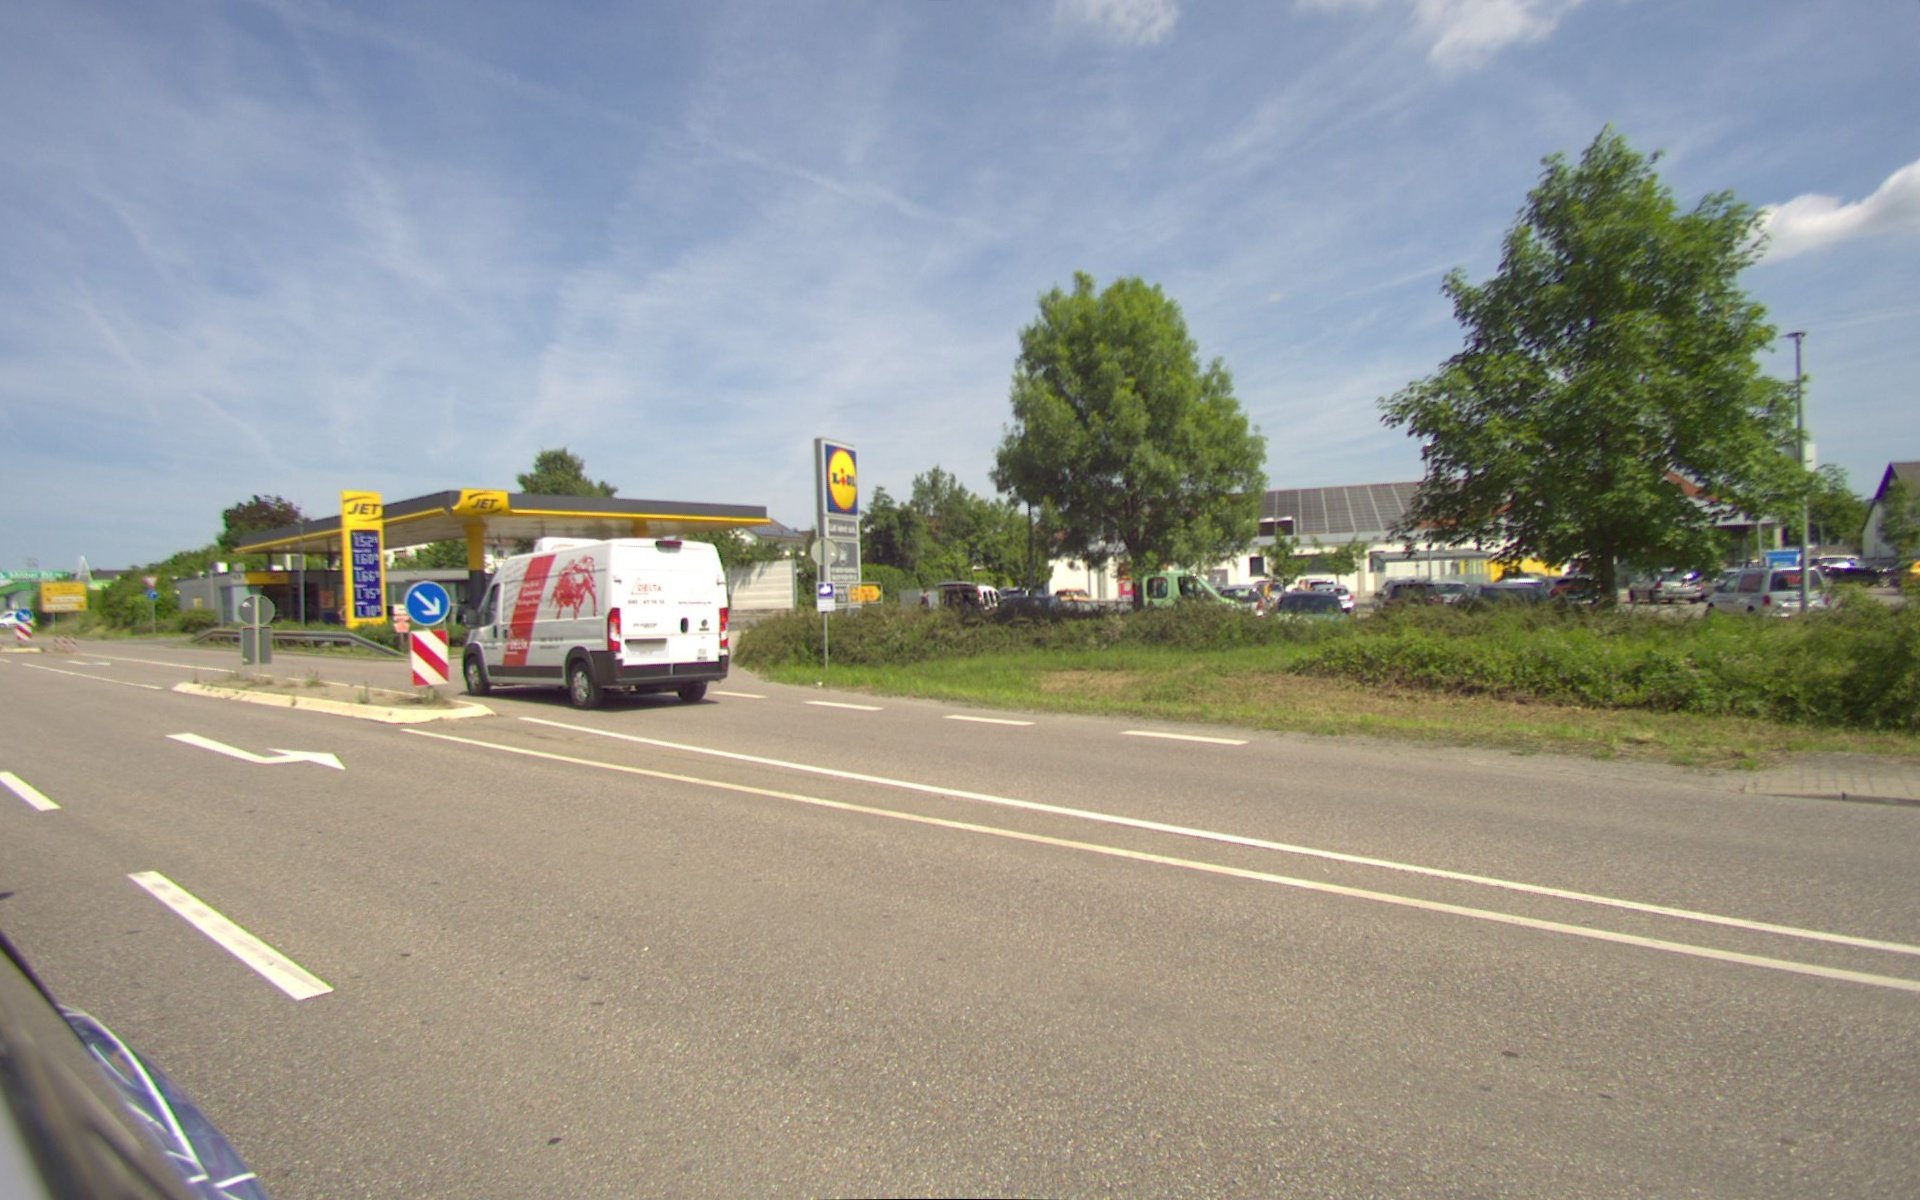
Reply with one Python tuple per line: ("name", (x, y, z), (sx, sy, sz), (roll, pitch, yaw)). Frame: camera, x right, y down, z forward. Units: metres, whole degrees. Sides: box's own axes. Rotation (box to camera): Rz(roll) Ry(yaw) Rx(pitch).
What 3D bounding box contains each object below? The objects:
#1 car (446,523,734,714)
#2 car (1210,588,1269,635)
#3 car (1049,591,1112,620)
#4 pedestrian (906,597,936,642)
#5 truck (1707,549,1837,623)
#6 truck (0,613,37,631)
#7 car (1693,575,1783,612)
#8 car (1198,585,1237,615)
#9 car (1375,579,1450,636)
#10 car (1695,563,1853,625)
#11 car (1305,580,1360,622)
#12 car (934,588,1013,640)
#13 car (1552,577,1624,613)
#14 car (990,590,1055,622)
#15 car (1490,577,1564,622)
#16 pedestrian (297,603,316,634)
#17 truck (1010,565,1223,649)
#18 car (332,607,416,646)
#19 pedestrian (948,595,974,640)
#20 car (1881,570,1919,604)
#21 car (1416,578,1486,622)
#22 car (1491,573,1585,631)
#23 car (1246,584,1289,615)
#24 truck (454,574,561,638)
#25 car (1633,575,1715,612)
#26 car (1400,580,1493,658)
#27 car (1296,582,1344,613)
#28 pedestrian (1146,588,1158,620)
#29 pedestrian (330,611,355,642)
("car", (-6.380, 0.273, 16.949), (5.987, 2.674, 2.094), (-1, 0, 44))
("car", (9.873, 0.366, 35.597), (1.769, 1.513, 4.122), (-1, 1, 18))
("car", (6.503, 0.284, 54.312), (1.879, 1.453, 3.958), (-1, 1, 31))
("pedestrian", (-1.397, 0.689, 36.312), (0.806, 1.587, 0.697), (-1, -1, 32))
("truck", (27.863, -0.459, 34.888), (1.981, 2.383, 3.982), (-1, 0, 14))
("truck", (-113.057, 2.656, 120.368), (1.999, 2.024, 4.709), (-1, 1, 42))
("car", (33.905, -0.279, 44.217), (1.865, 1.553, 4.231), (0, 0, 20))
("car", (13.302, -0.024, 52.230), (1.868, 1.453, 3.981), (-1, 1, 15))
("car", (14.656, 0.209, 32.937), (1.898, 1.687, 3.974), (-1, 1, 20))
("car", (24.209, -0.159, 30.327), (1.981, 1.708, 4.408), (-1, 0, 14))
("car", (14.263, 0.026, 38.936), (1.764, 1.540, 3.977), (0, 0, 17))
("car", (0.582, 0.486, 38.721), (1.865, 1.825, 4.145), (-1, 0, 17))
("car", (28.456, -0.234, 45.993), (1.865, 1.553, 4.231), (0, 0, 20))
("car", (3.412, 0.308, 54.503), (1.765, 1.551, 3.956), (-2, 0, 33))
("car", (20.576, -0.026, 36.857), (1.767, 1.540, 3.972), (0, 0, 21))
("pedestrian", (-39.151, 1.116, 60.624), (0.639, 1.852, 0.788), (-2, 0, 41))
("truck", (4.881, 0.260, 31.386), (6.290, 2.393, 2.238), (-1, -1, 15))
("car", (-27.734, 1.254, 47.826), (4.258, 1.719, 1.975), (-2, -1, 38))
("pedestrian", (0.050, 0.619, 36.325), (0.801, 1.587, 0.701), (-1, 0, 13))
("car", (45.113, -0.596, 46.090), (4.223, 1.553, 1.869), (0, 0, 18))
("car", (18.320, -0.008, 37.931), (1.764, 1.540, 3.977), (0, 0, 17))
("car", (18.201, 0.056, 32.056), (1.912, 1.701, 3.973), (0, 0, 20))
("car", (15.540, -0.050, 51.262), (1.868, 1.453, 3.981), (-1, 1, 15))
("truck", (-22.118, 0.266, 49.313), (6.278, 2.944, 2.222), (0, 0, 40))
("car", (31.490, -0.276, 44.761), (1.865, 1.553, 4.231), (0, 0, 20))
("car", (11.413, 0.401, 23.944), (1.683, 1.670, 3.971), (0, 0, 22))
("car", (17.945, -0.166, 50.567), (1.868, 1.453, 3.981), (-1, 1, 15))
("pedestrian", (9.364, 0.183, 49.337), (0.501, 1.564, 0.514), (-1, 0, 16))
("pedestrian", (-28.524, 1.219, 46.735), (0.494, 1.438, 0.902), (-1, 0, 43))
